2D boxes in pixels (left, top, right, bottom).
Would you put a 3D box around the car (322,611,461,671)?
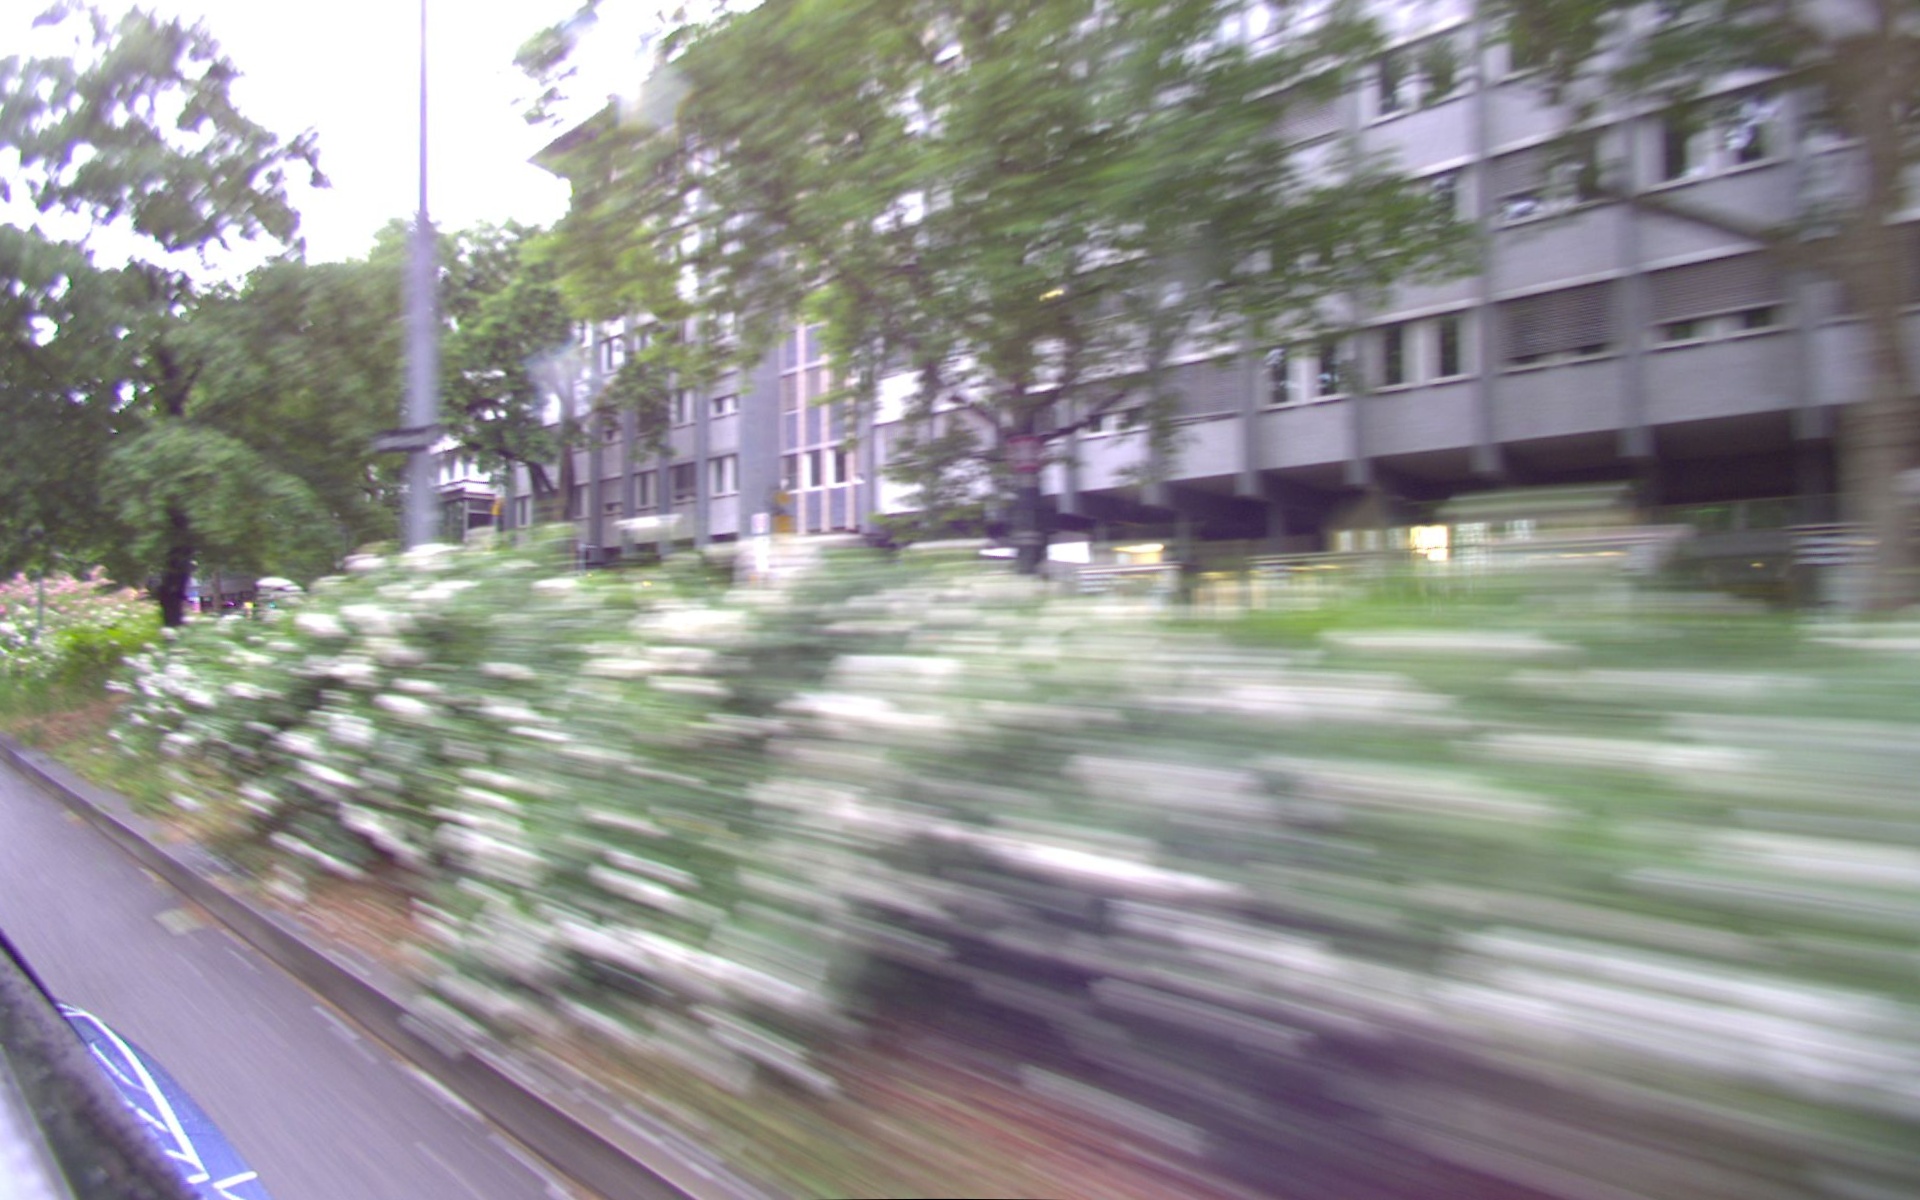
[{"bbox_3d":[-14.840,1.066,26.310,4.495,1.439,1.709,-1,-4,41],"label":"car"}]
